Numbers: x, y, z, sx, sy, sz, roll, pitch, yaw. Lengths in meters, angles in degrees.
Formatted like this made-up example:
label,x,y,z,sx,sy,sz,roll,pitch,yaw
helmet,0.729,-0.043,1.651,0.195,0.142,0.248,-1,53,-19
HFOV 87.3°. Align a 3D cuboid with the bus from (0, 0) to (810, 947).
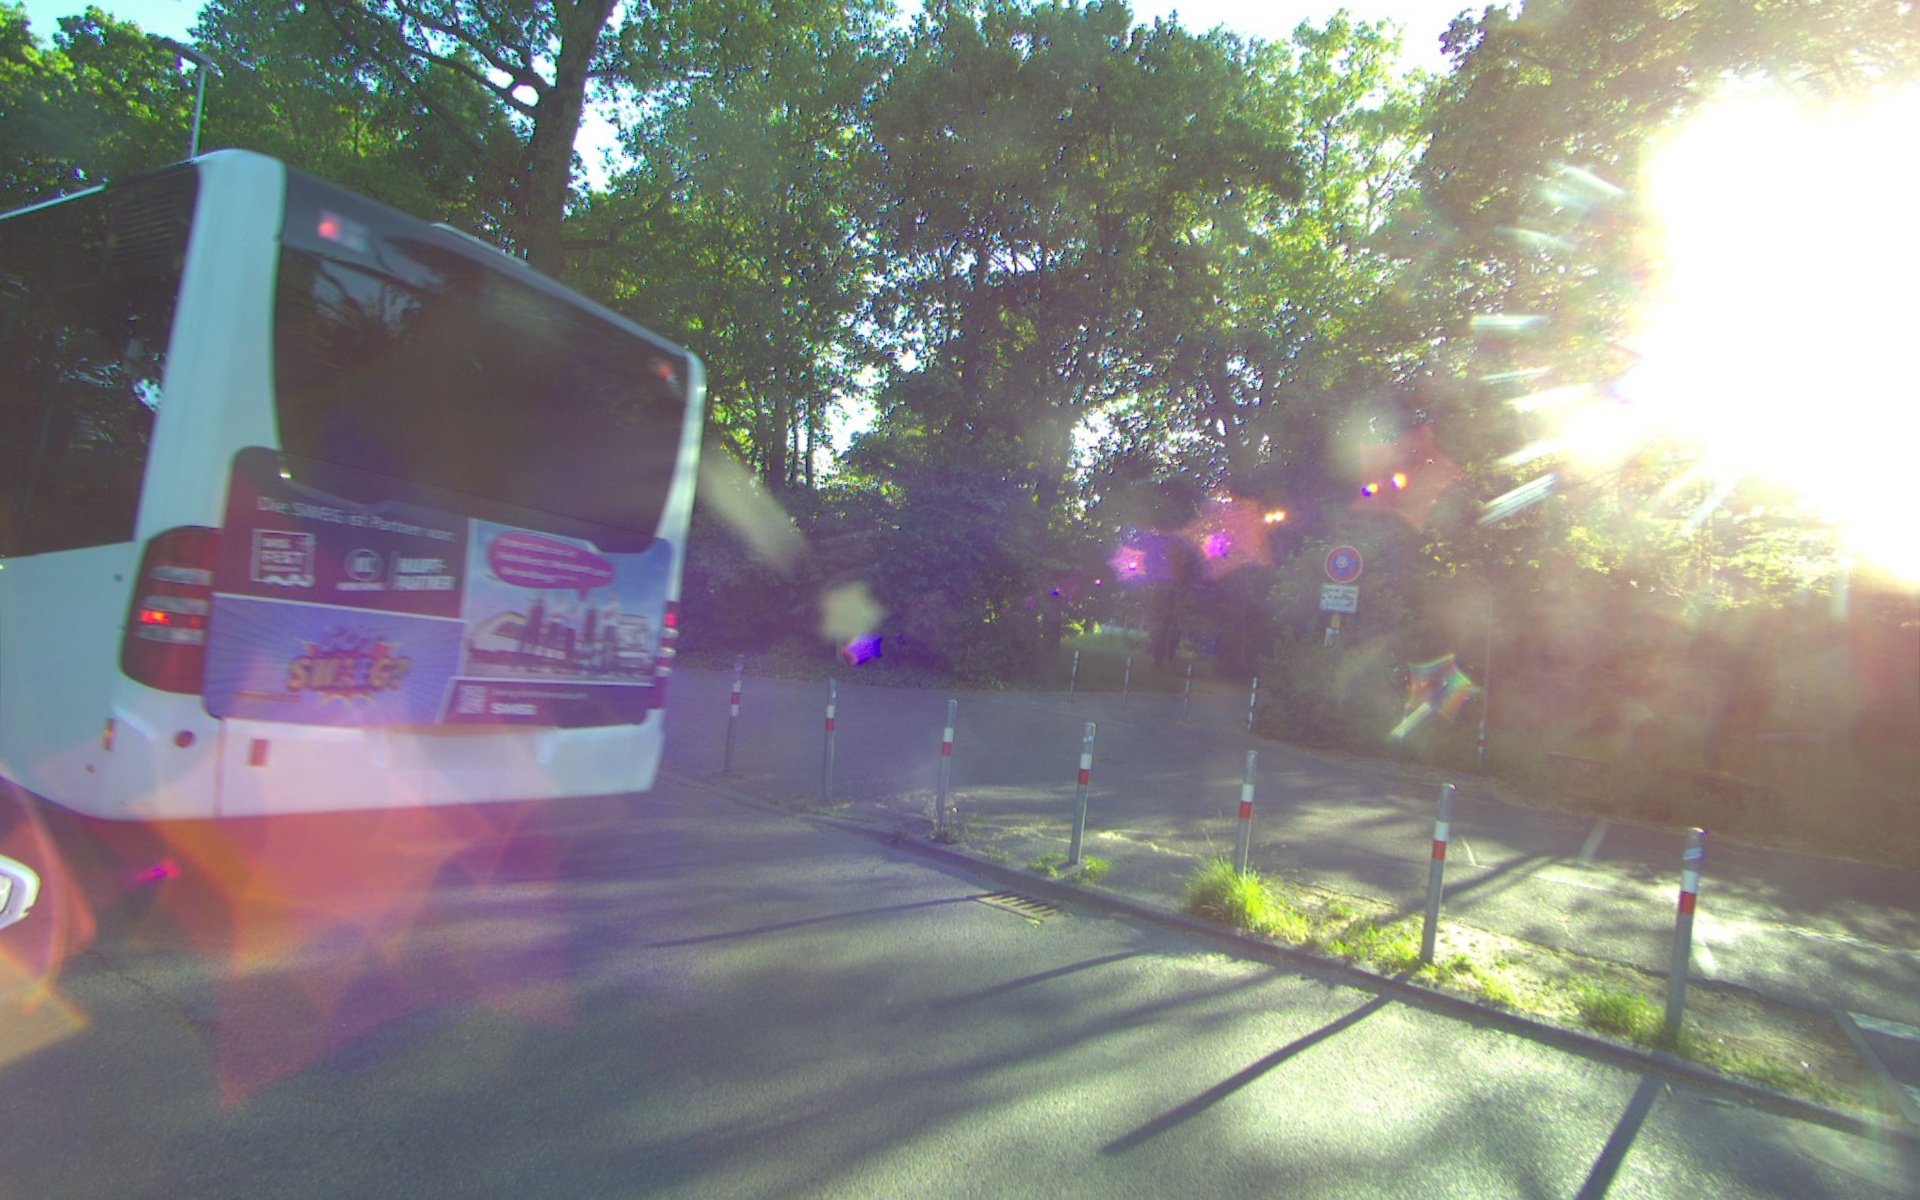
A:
label,x,y,z,sx,sy,sz,roll,pitch,yaw
bus,-6.966,-0.820,7.658,12.065,3.120,3.021,6,-3,31
